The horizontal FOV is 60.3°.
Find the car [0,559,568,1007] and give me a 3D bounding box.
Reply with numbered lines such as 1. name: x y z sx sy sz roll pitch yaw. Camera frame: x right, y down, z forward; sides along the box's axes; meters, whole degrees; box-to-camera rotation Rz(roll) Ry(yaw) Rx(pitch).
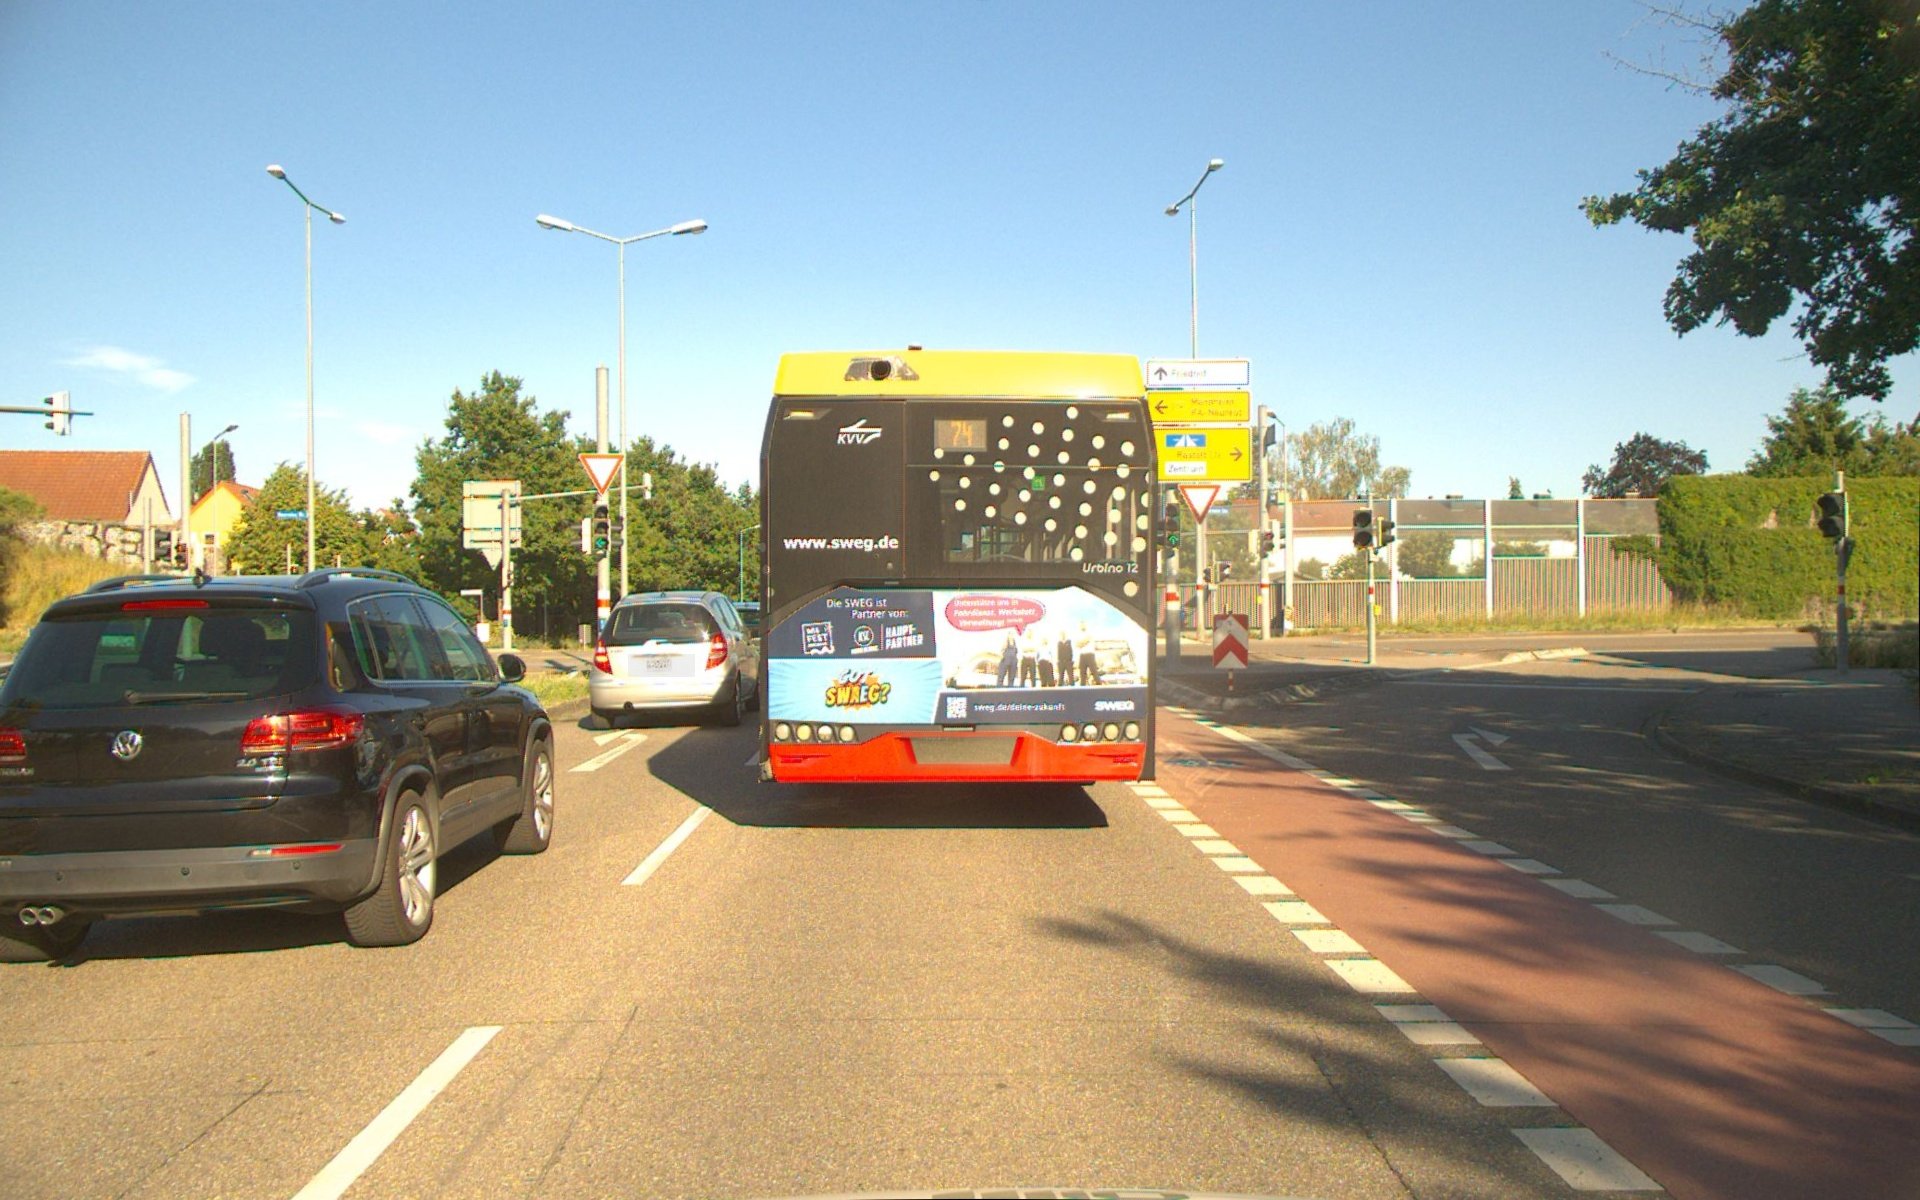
1. car: -3.303 0.715 8.418 1.736 1.682 3.998 -2 0 -2

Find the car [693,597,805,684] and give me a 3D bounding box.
1. car: -3.919 0.719 31.207 1.658 1.484 3.749 -2 0 -1

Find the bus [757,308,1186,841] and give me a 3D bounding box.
1. bus: 0.035 -0.187 16.008 2.589 3.222 11.859 0 0 0

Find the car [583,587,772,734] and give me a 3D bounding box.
1. car: -3.440 0.686 20.835 1.725 1.617 3.999 -2 0 -1
